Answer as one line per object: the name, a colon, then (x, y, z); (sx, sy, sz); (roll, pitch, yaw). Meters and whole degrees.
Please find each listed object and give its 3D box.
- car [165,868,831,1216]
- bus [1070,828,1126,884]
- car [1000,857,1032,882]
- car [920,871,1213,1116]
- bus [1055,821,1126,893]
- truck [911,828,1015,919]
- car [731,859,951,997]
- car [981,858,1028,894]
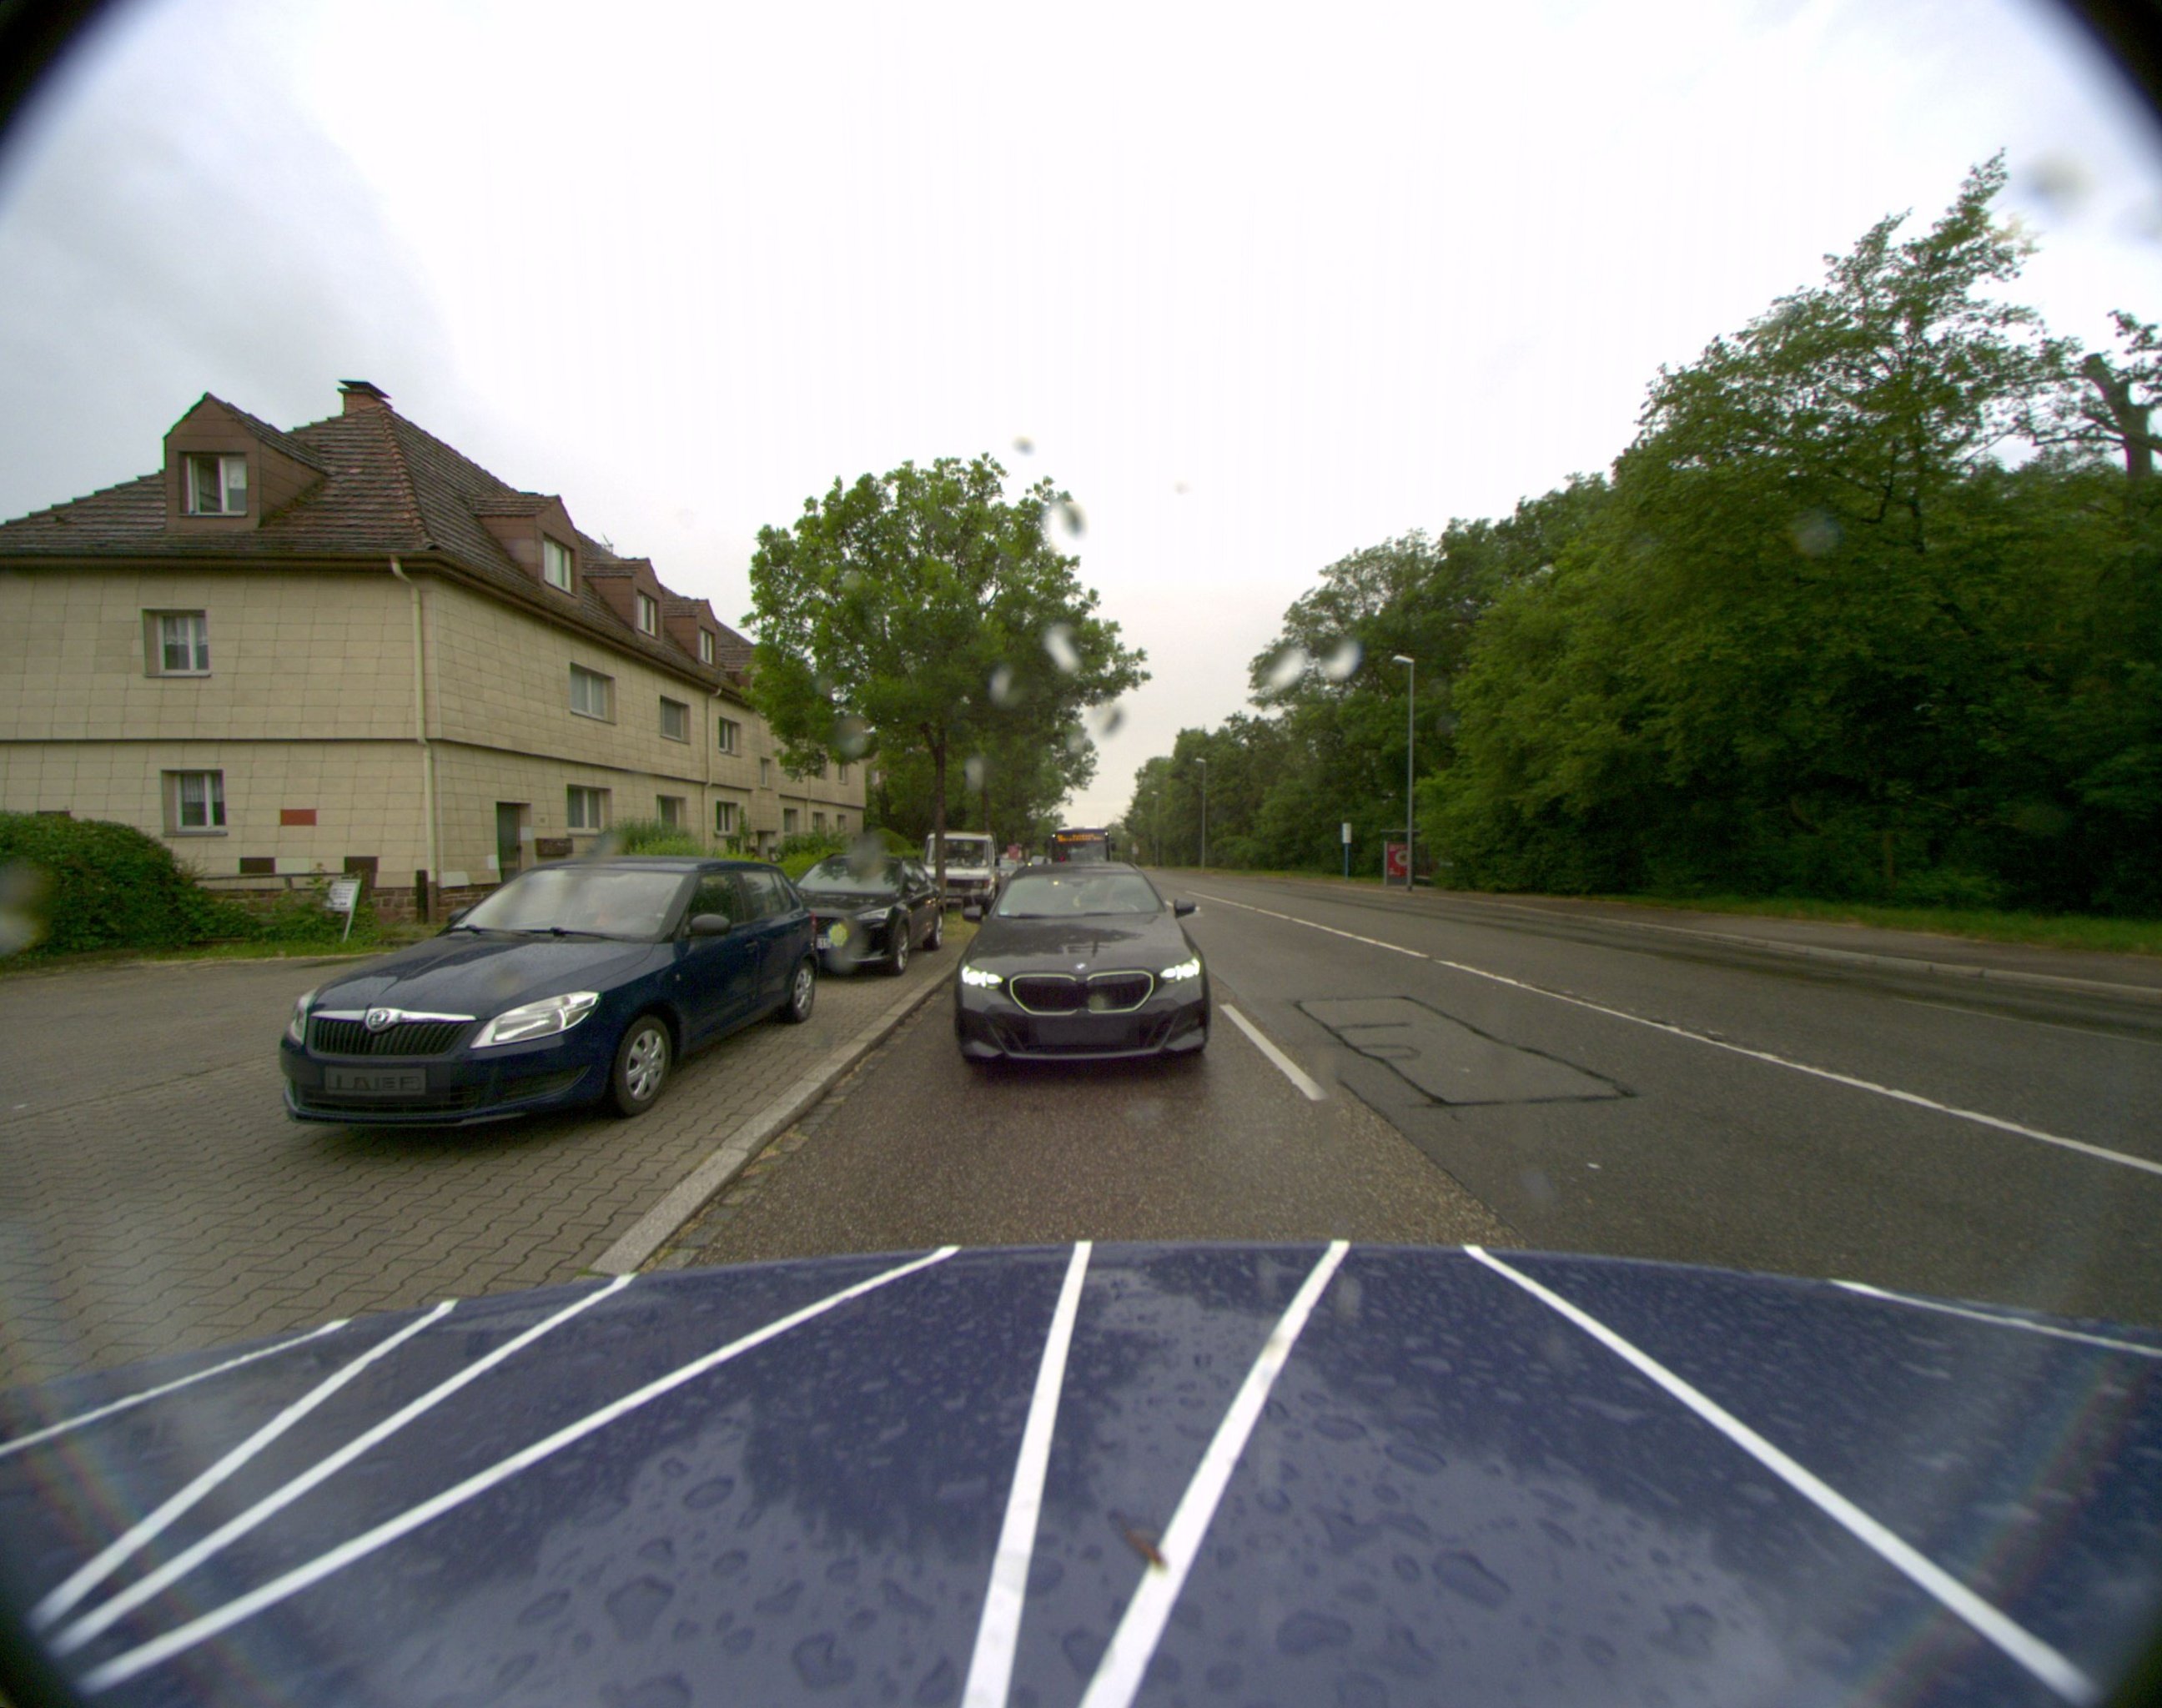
car: (-3.235, 0.868, 5.305); (1.608, 1.463, 3.856); (1, 0, 1)
bus: (0.843, 0.118, 44.682); (2.562, 2.942, 8.554); (-1, 0, -4)
car: (-3.965, 0.924, 46.910); (1.692, 1.381, 4.499); (1, 0, -1)
car: (-0.105, 0.952, 7.151); (1.855, 1.461, 4.483); (-1, 0, 0)
bus: (0.652, 0.124, 35.903); (2.562, 2.942, 9.454); (-1, 0, 5)
truck: (-3.245, 0.483, 22.299); (2.085, 2.208, 6.500); (2, 0, -1)
car: (-3.087, 0.856, 10.724); (1.718, 1.490, 4.183); (2, 0, 0)
car: (-3.313, 0.983, 33.429); (1.605, 1.427, 4.022); (2, -2, 0)
